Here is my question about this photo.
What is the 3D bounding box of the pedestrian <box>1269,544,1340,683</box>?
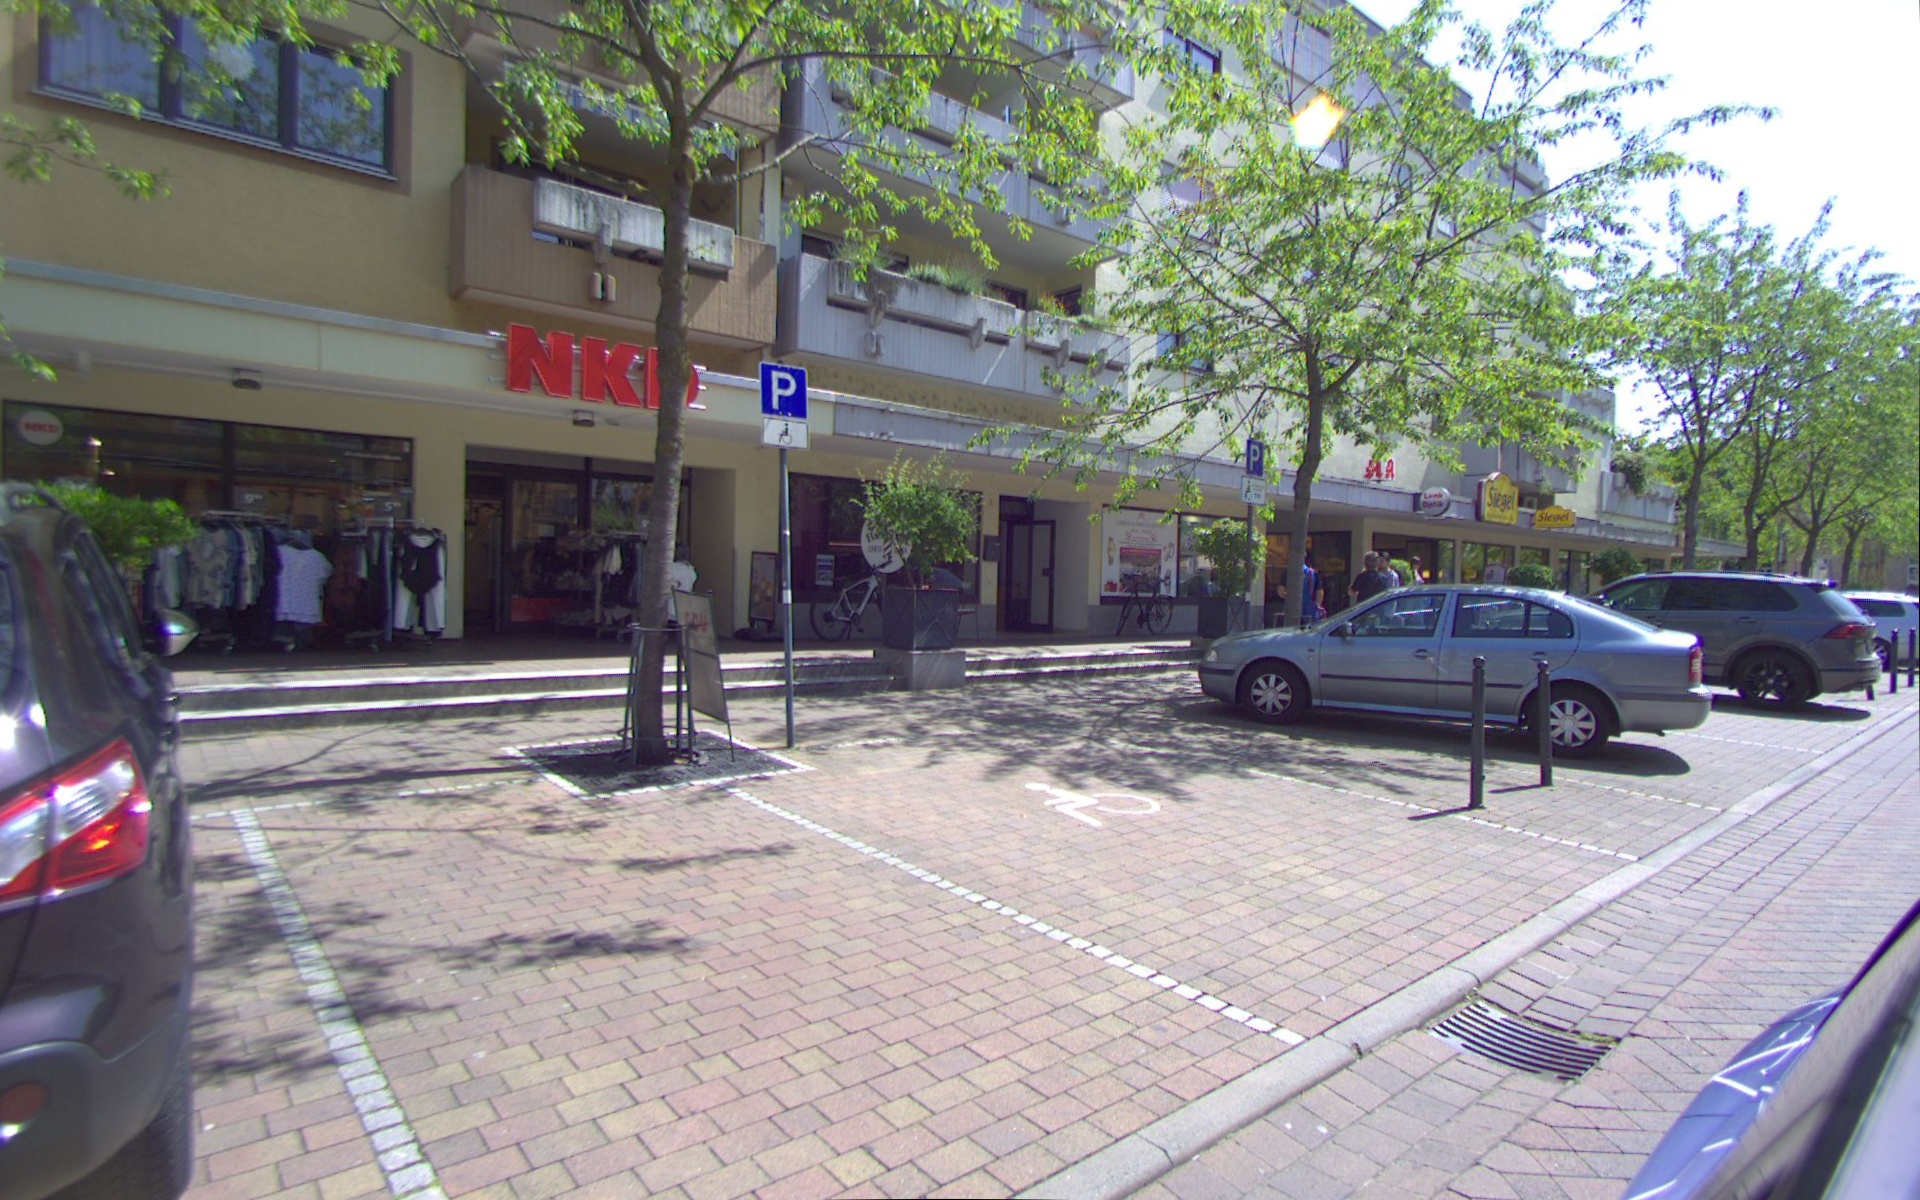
[{"bbox_3d":[4.572,0.176,13.462,0.618,1.795,0.688,1,1,-8],"label":"pedestrian"}]

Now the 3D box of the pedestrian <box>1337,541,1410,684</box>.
[{"bbox_3d":[5.405,0.149,13.254,0.593,1.818,0.629,1,1,-20],"label":"pedestrian"}]

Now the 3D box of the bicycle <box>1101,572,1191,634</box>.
[{"bbox_3d":[3.458,0.030,18.690,1.834,1.095,0.642,-1,1,-41],"label":"bicycle"}]

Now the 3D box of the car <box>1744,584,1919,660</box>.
[{"bbox_3d":[19.918,0.463,22.368,1.585,1.448,3.801,0,3,-39],"label":"car"}]

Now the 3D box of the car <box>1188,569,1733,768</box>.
[{"bbox_3d":[4.635,0.487,9.886,4.350,1.481,1.871,2,2,30],"label":"car"}]

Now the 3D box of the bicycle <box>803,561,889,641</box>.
[{"bbox_3d":[-1.586,0.001,14.237,0.360,1.080,1.294,0,1,42],"label":"bicycle"}]

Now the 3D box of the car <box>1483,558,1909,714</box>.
[{"bbox_3d":[9.554,0.336,13.437,1.726,1.637,4.252,0,3,-41],"label":"car"}]

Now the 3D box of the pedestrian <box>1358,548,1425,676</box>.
[{"bbox_3d":[6.030,0.159,14.164,0.635,1.752,0.617,0,0,-6],"label":"pedestrian"}]

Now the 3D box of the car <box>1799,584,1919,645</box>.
[{"bbox_3d":[25.324,0.393,27.672,1.493,1.481,3.401,0,3,-39],"label":"car"}]

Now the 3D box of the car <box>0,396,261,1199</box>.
[{"bbox_3d":[-3.059,0.401,2.708,1.651,1.631,4.038,0,4,-39],"label":"car"}]

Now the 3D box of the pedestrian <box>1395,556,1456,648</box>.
[{"bbox_3d":[9.430,0.032,20.500,0.853,1.803,0.760,0,1,-33],"label":"pedestrian"}]

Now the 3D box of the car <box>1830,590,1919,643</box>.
[{"bbox_3d":[27.320,0.491,28.992,1.434,1.407,3.401,0,3,-39],"label":"car"}]

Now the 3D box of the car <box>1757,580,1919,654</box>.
[{"bbox_3d":[21.615,0.377,24.260,1.604,1.535,3.652,0,3,-39],"label":"car"}]

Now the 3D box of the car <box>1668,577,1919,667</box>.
[{"bbox_3d":[17.751,0.394,21.059,1.774,1.562,4.586,0,3,-39],"label":"car"}]
